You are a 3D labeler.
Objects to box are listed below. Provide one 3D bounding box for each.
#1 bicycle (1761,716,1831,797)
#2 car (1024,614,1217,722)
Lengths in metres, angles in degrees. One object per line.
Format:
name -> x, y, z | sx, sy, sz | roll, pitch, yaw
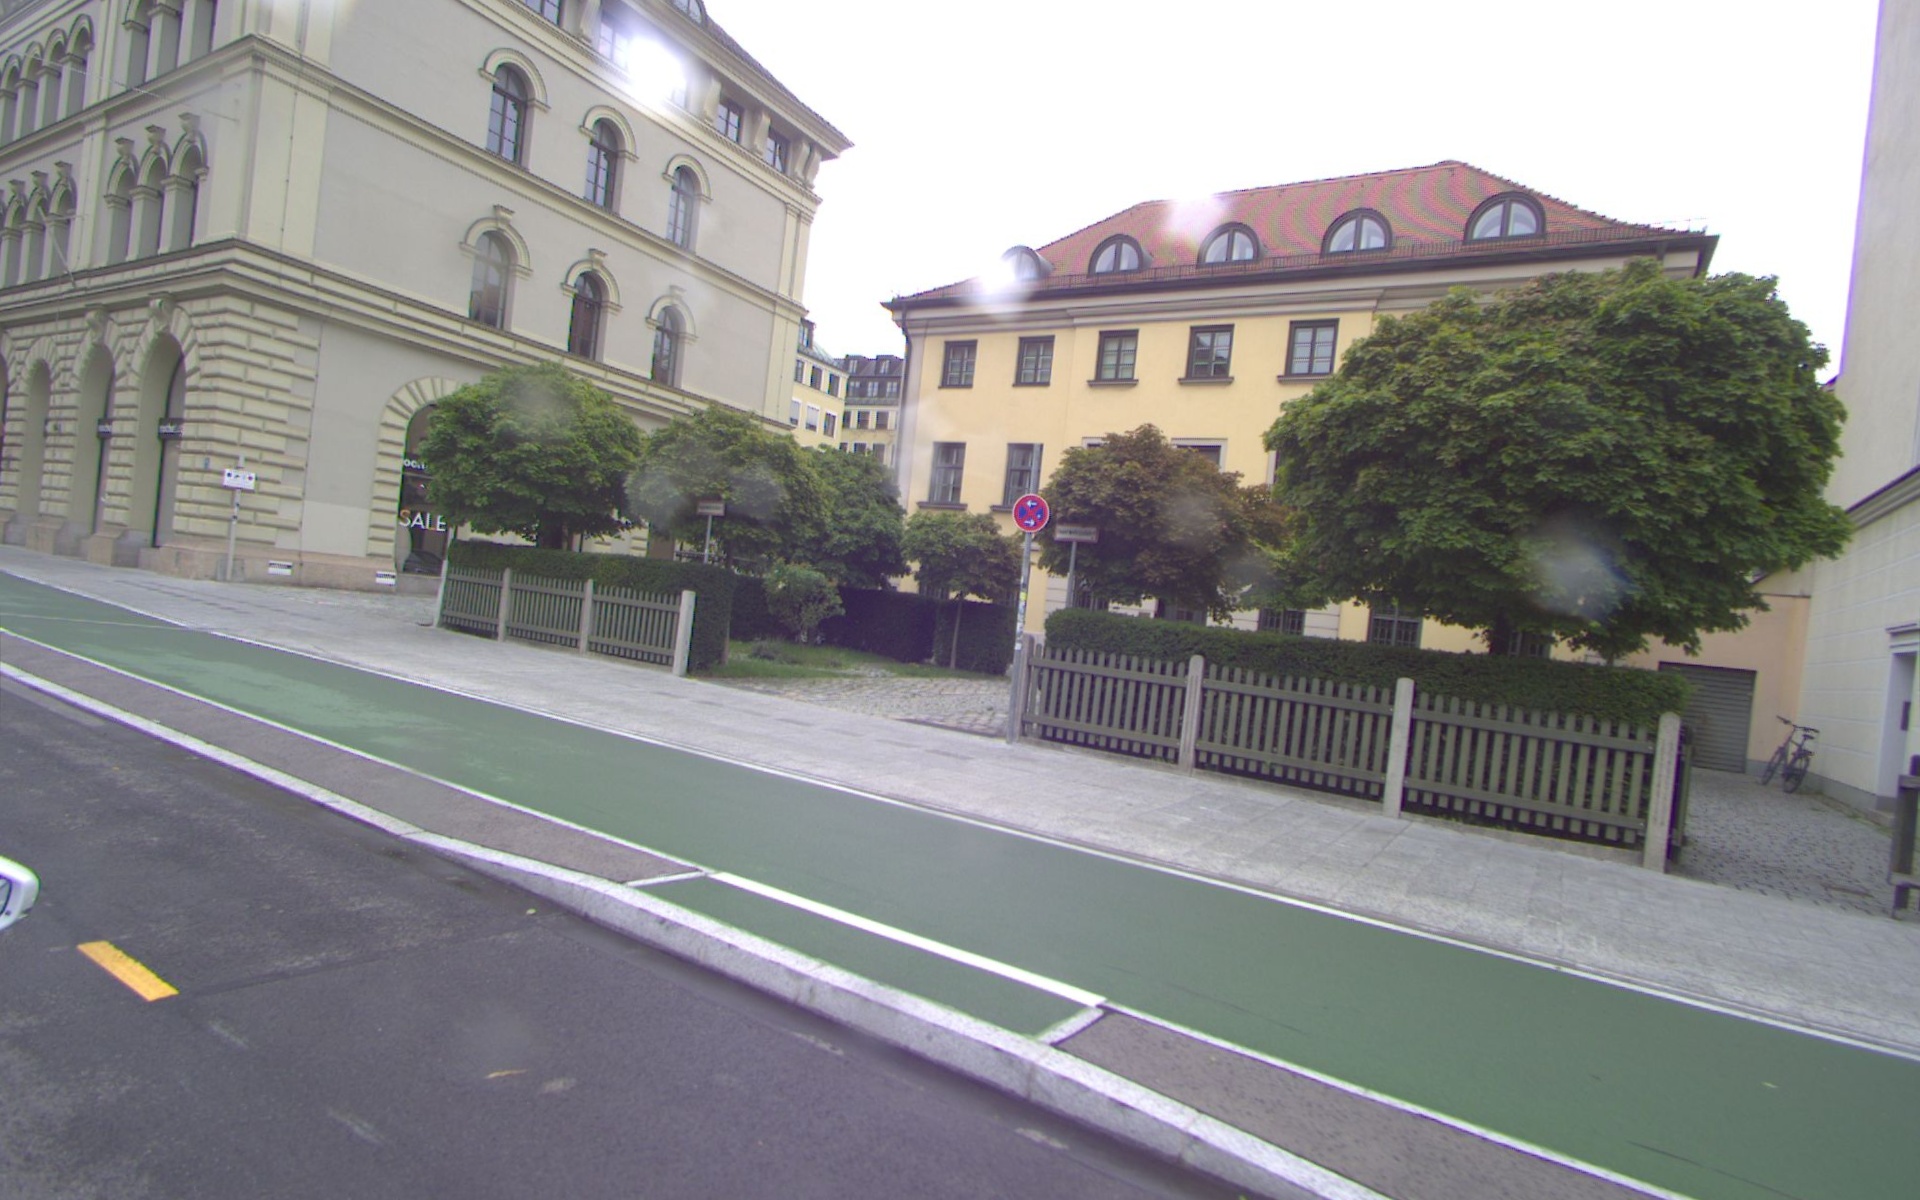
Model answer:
bicycle -> 14.153, 2.619, 17.062 | 0.512, 1.185, 1.830 | 7, 0, 31
car -> 2.947, 1.227, 17.868 | 1.838, 1.508, 3.821 | 7, -1, 34
